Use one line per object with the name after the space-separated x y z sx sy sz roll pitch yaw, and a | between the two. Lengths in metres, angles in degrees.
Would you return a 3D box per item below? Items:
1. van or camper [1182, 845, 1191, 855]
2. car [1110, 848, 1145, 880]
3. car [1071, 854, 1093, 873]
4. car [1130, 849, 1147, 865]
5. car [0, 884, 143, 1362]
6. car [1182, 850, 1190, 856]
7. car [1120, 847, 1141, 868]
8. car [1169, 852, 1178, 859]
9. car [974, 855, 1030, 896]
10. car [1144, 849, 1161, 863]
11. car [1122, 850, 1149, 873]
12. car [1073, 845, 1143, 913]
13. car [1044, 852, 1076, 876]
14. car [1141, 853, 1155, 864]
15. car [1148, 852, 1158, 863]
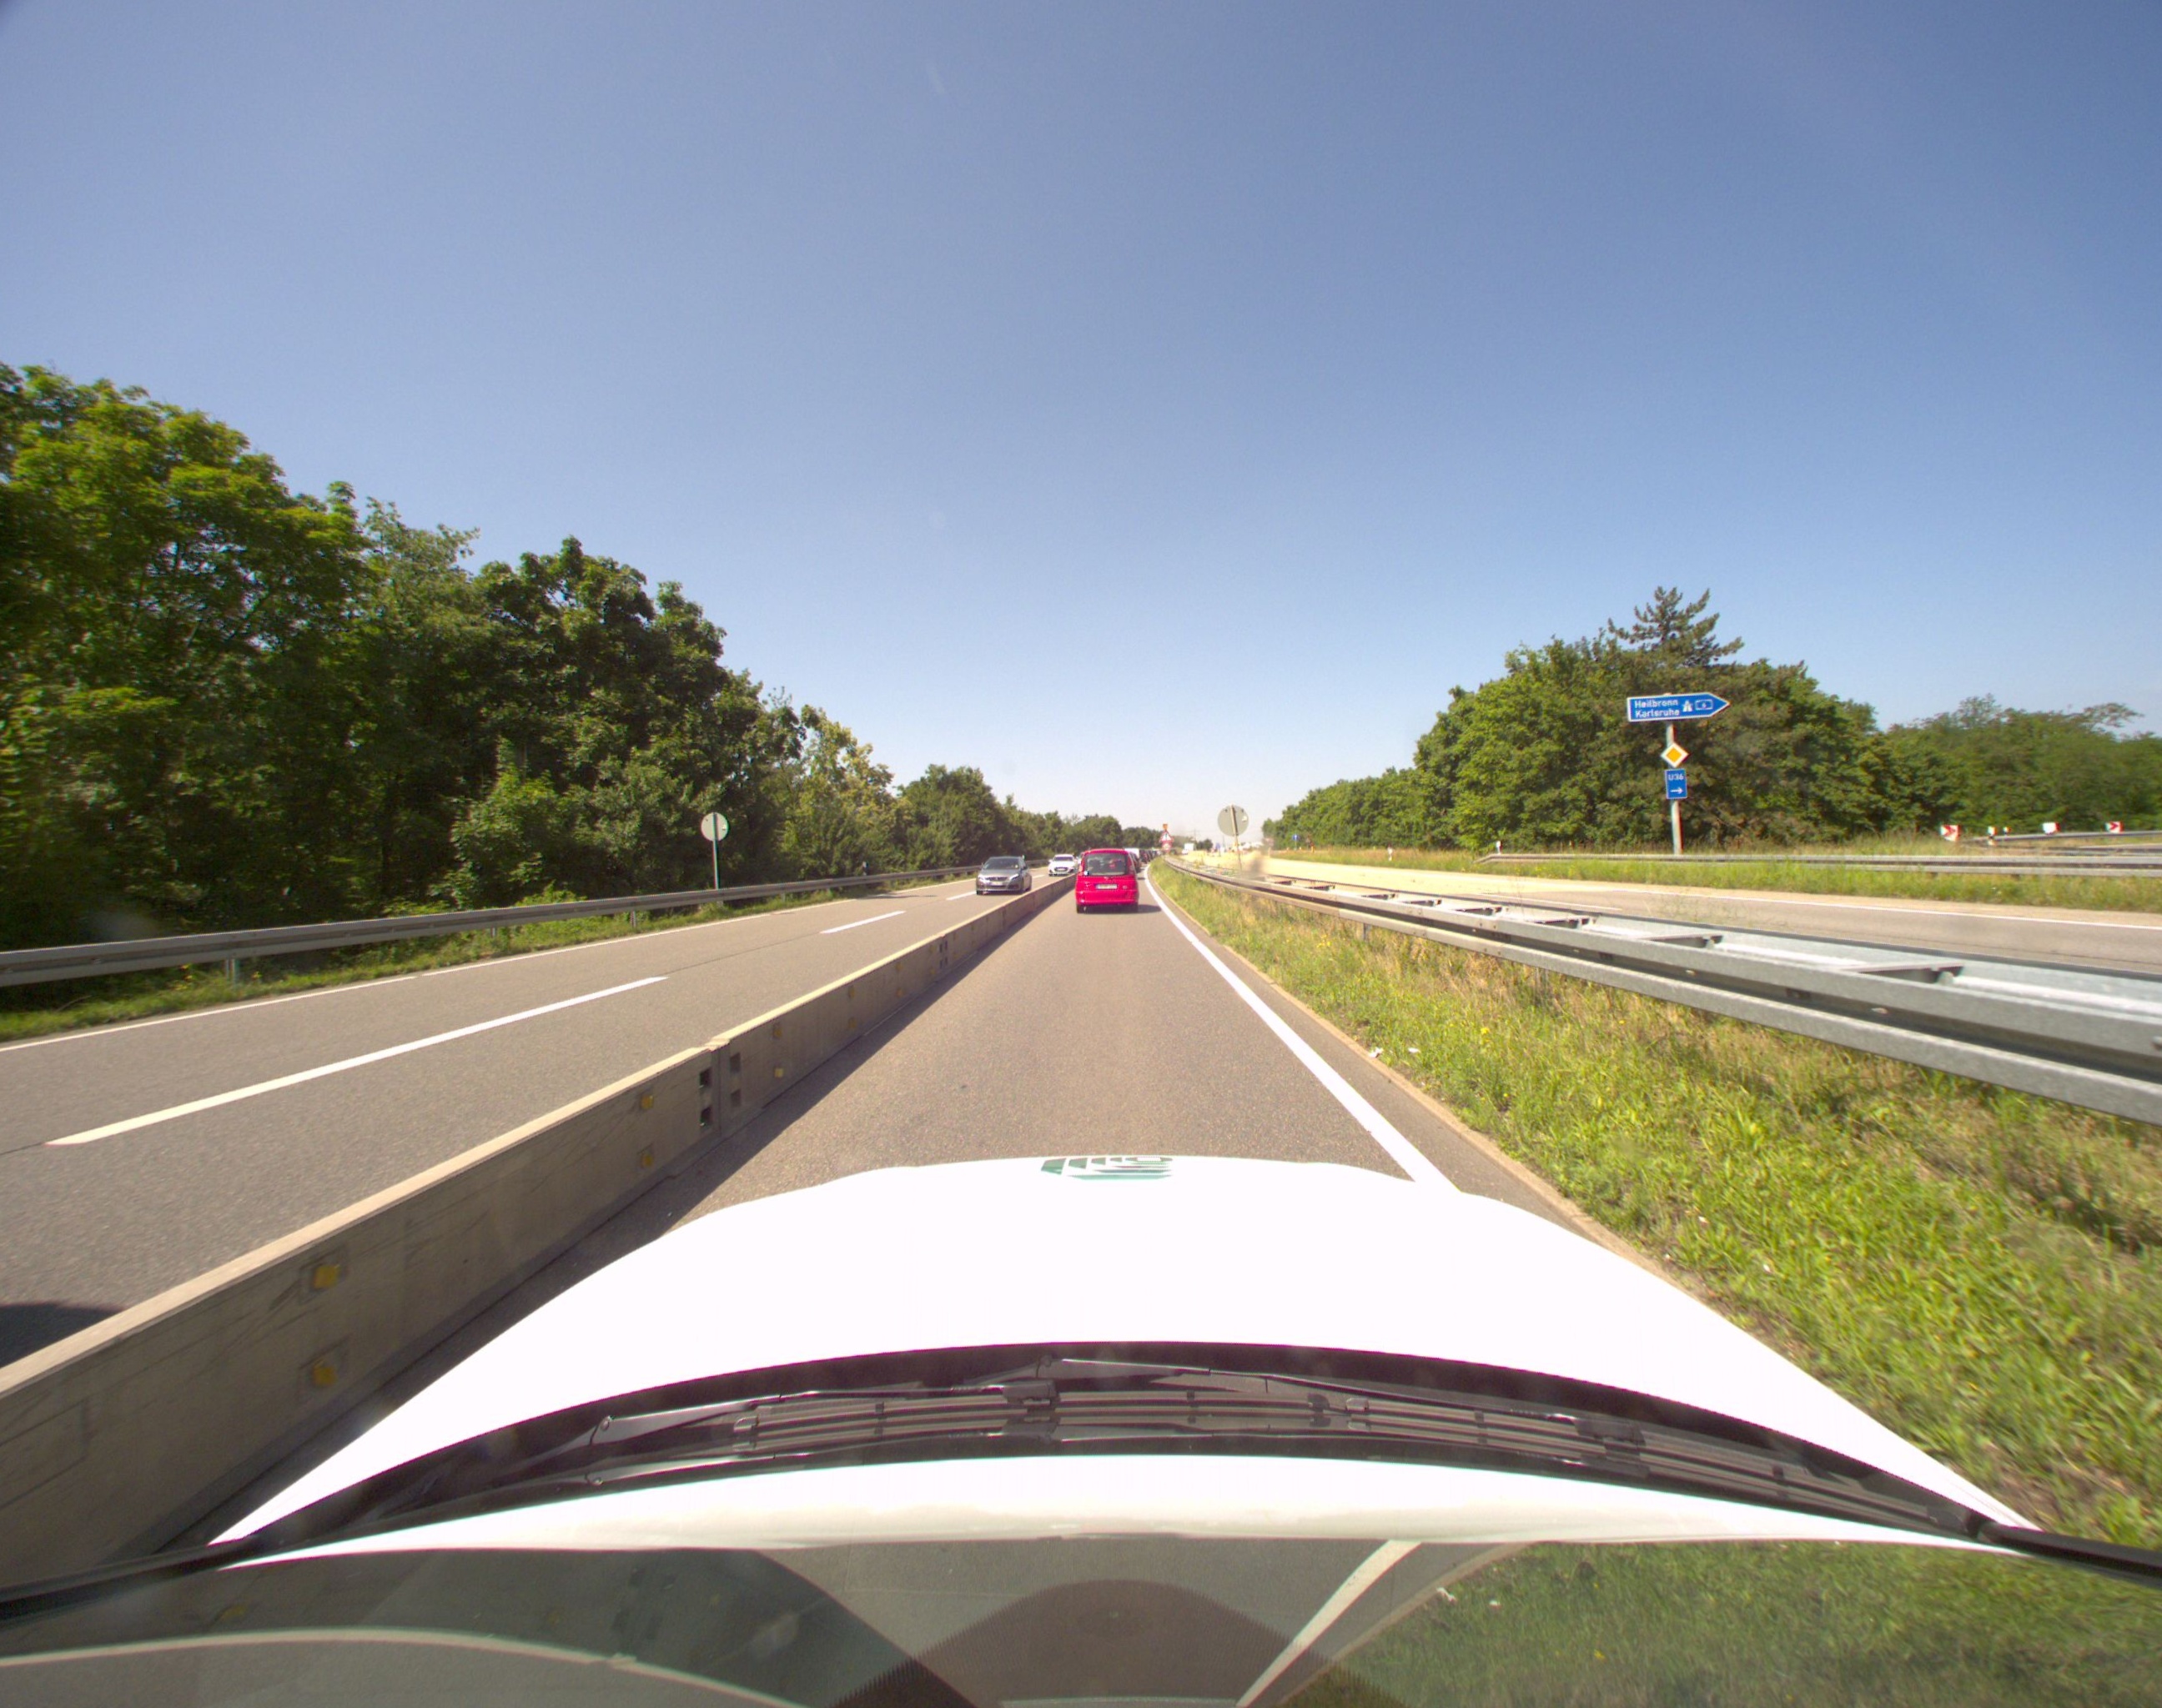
30.389 -1.034 234.906 2.318 2.707 4.598 -2 0 4 | van or camper
2.657 0.531 47.064 1.824 1.722 4.001 -2 0 1 | car
0.149 0.880 75.827 1.821 1.630 3.787 -1 0 3 | car
6.846 0.324 97.134 1.985 1.750 4.003 -2 0 3 | car
-4.214 0.832 0.773 1.809 1.424 4.110 -1 0 1 | car
28.736 -0.224 222.607 1.984 1.486 4.005 -2 0 5 | car
4.932 0.368 81.457 1.985 2.003 4.004 -2 0 3 | car
21.344 0.333 188.799 1.983 1.552 4.007 -1 0 6 | car
-3.092 0.802 32.577 1.719 1.496 4.389 -1 0 1 | car
9.548 0.321 109.165 1.986 1.783 4.001 -2 0 1 | car
4.563 0.595 68.777 1.986 1.838 4.001 -2 0 1 | car
0.731 0.629 22.531 1.745 1.673 4.001 -1 0 1 | car
-1.391 0.642 55.731 1.941 1.539 4.437 -2 0 2 | car
10.228 0.697 123.946 1.985 1.585 4.004 -1 0 4 | car
12.148 0.619 137.301 1.494 1.736 3.176 -1 0 6 | car
